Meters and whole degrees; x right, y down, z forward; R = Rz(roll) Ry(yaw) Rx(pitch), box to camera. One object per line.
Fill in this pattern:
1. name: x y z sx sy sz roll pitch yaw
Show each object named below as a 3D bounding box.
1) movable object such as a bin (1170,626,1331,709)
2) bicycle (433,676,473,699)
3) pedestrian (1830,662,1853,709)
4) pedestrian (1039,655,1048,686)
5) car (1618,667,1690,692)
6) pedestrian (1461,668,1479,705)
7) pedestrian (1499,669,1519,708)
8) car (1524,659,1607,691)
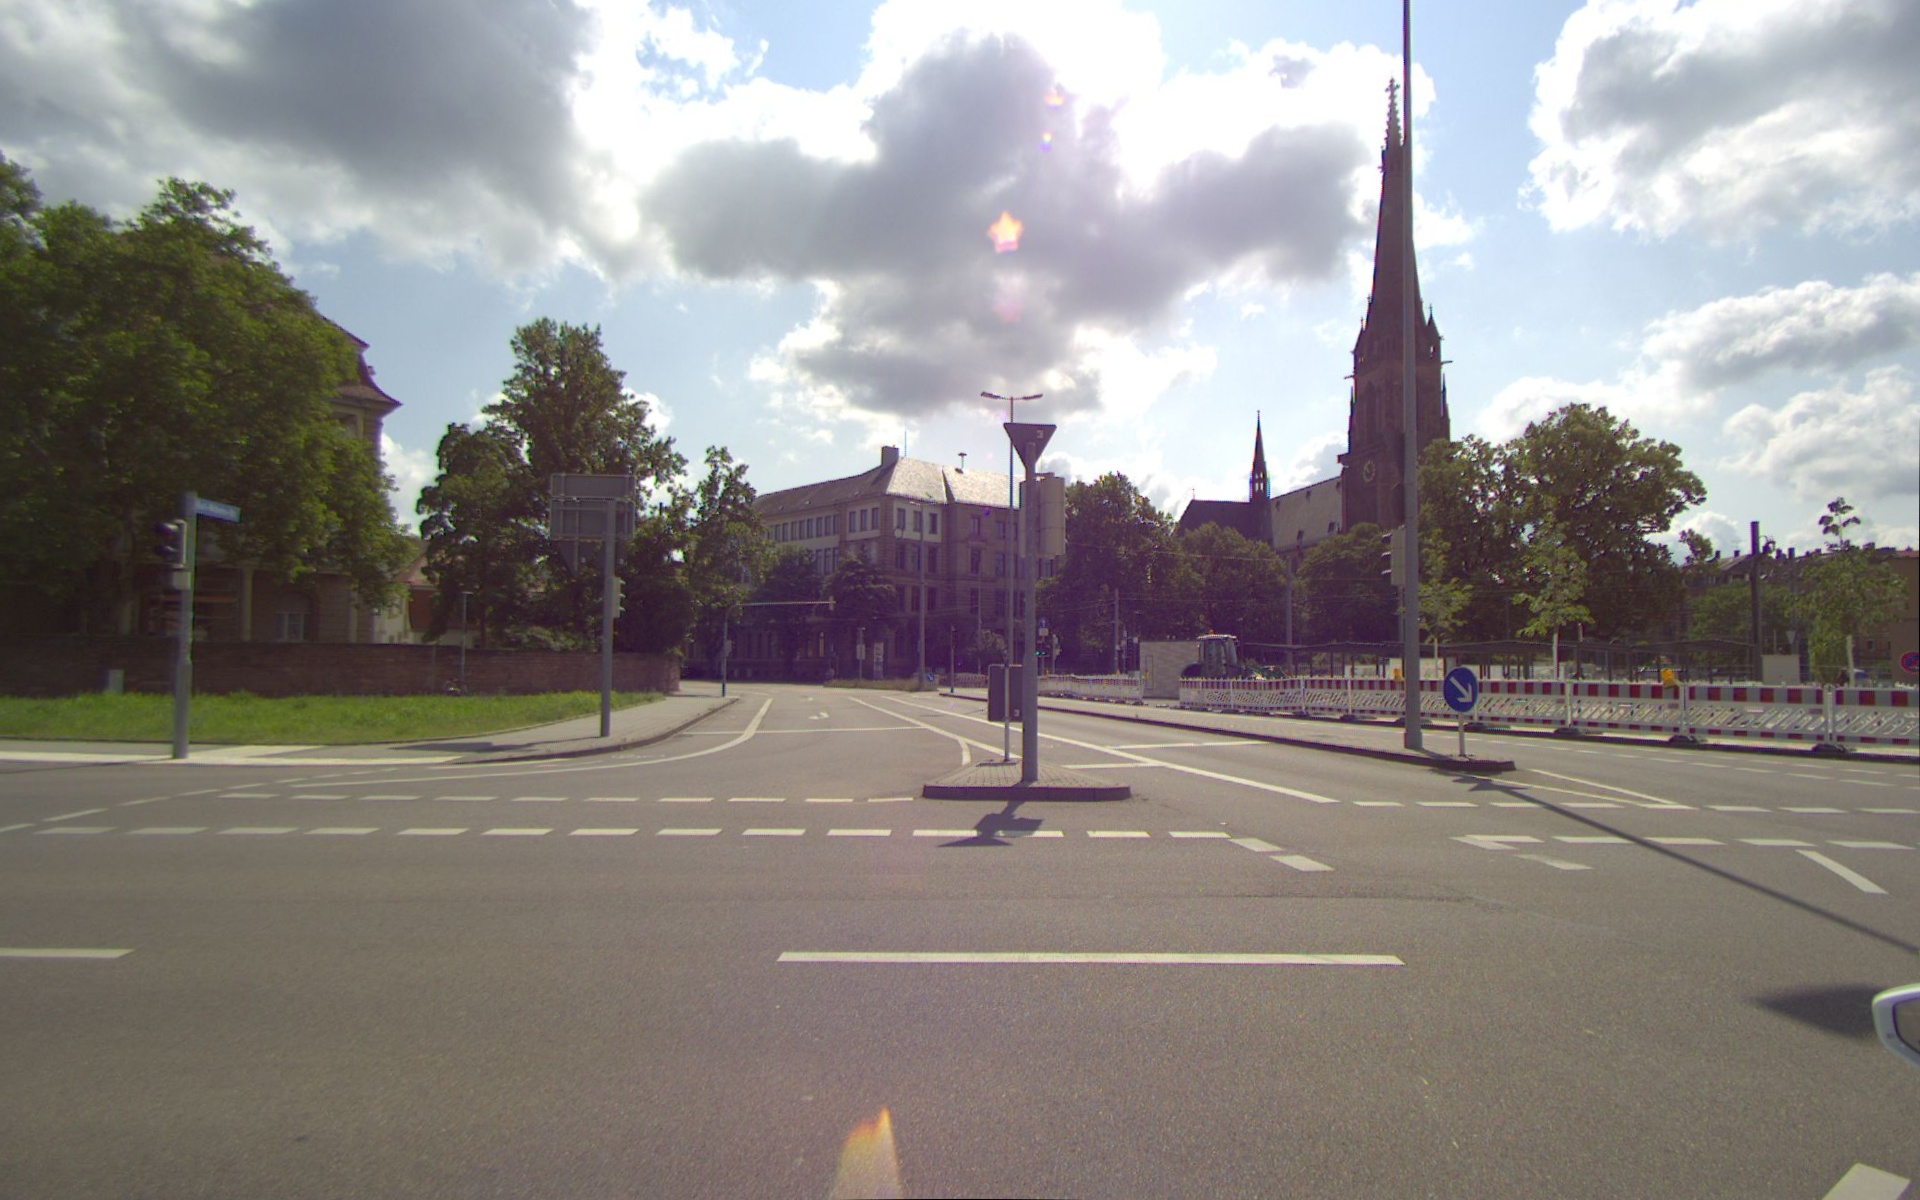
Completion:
1. movable object such as a bin: 11.031 2.558 38.350 5.455 2.922 2.280 -2 -5 37
2. bicycle: -22.414 3.864 44.430 0.388 1.004 1.518 -2 -4 35
3. pedestrian: 39.445 3.814 44.940 0.552 2.039 0.693 4 -5 -44
4. pedestrian: 5.155 4.343 61.732 0.489 1.874 0.529 1 -3 0
5. car: 55.108 6.299 79.828 1.766 1.816 4.329 3 -4 -36
6. pedestrian: 28.115 4.756 55.377 0.739 2.040 0.759 -2 -4 42
7. pedestrian: 29.317 4.694 53.594 0.752 2.040 0.746 -2 -4 43
8. car: 38.068 4.685 63.209 1.792 1.906 4.125 4 -5 -45
